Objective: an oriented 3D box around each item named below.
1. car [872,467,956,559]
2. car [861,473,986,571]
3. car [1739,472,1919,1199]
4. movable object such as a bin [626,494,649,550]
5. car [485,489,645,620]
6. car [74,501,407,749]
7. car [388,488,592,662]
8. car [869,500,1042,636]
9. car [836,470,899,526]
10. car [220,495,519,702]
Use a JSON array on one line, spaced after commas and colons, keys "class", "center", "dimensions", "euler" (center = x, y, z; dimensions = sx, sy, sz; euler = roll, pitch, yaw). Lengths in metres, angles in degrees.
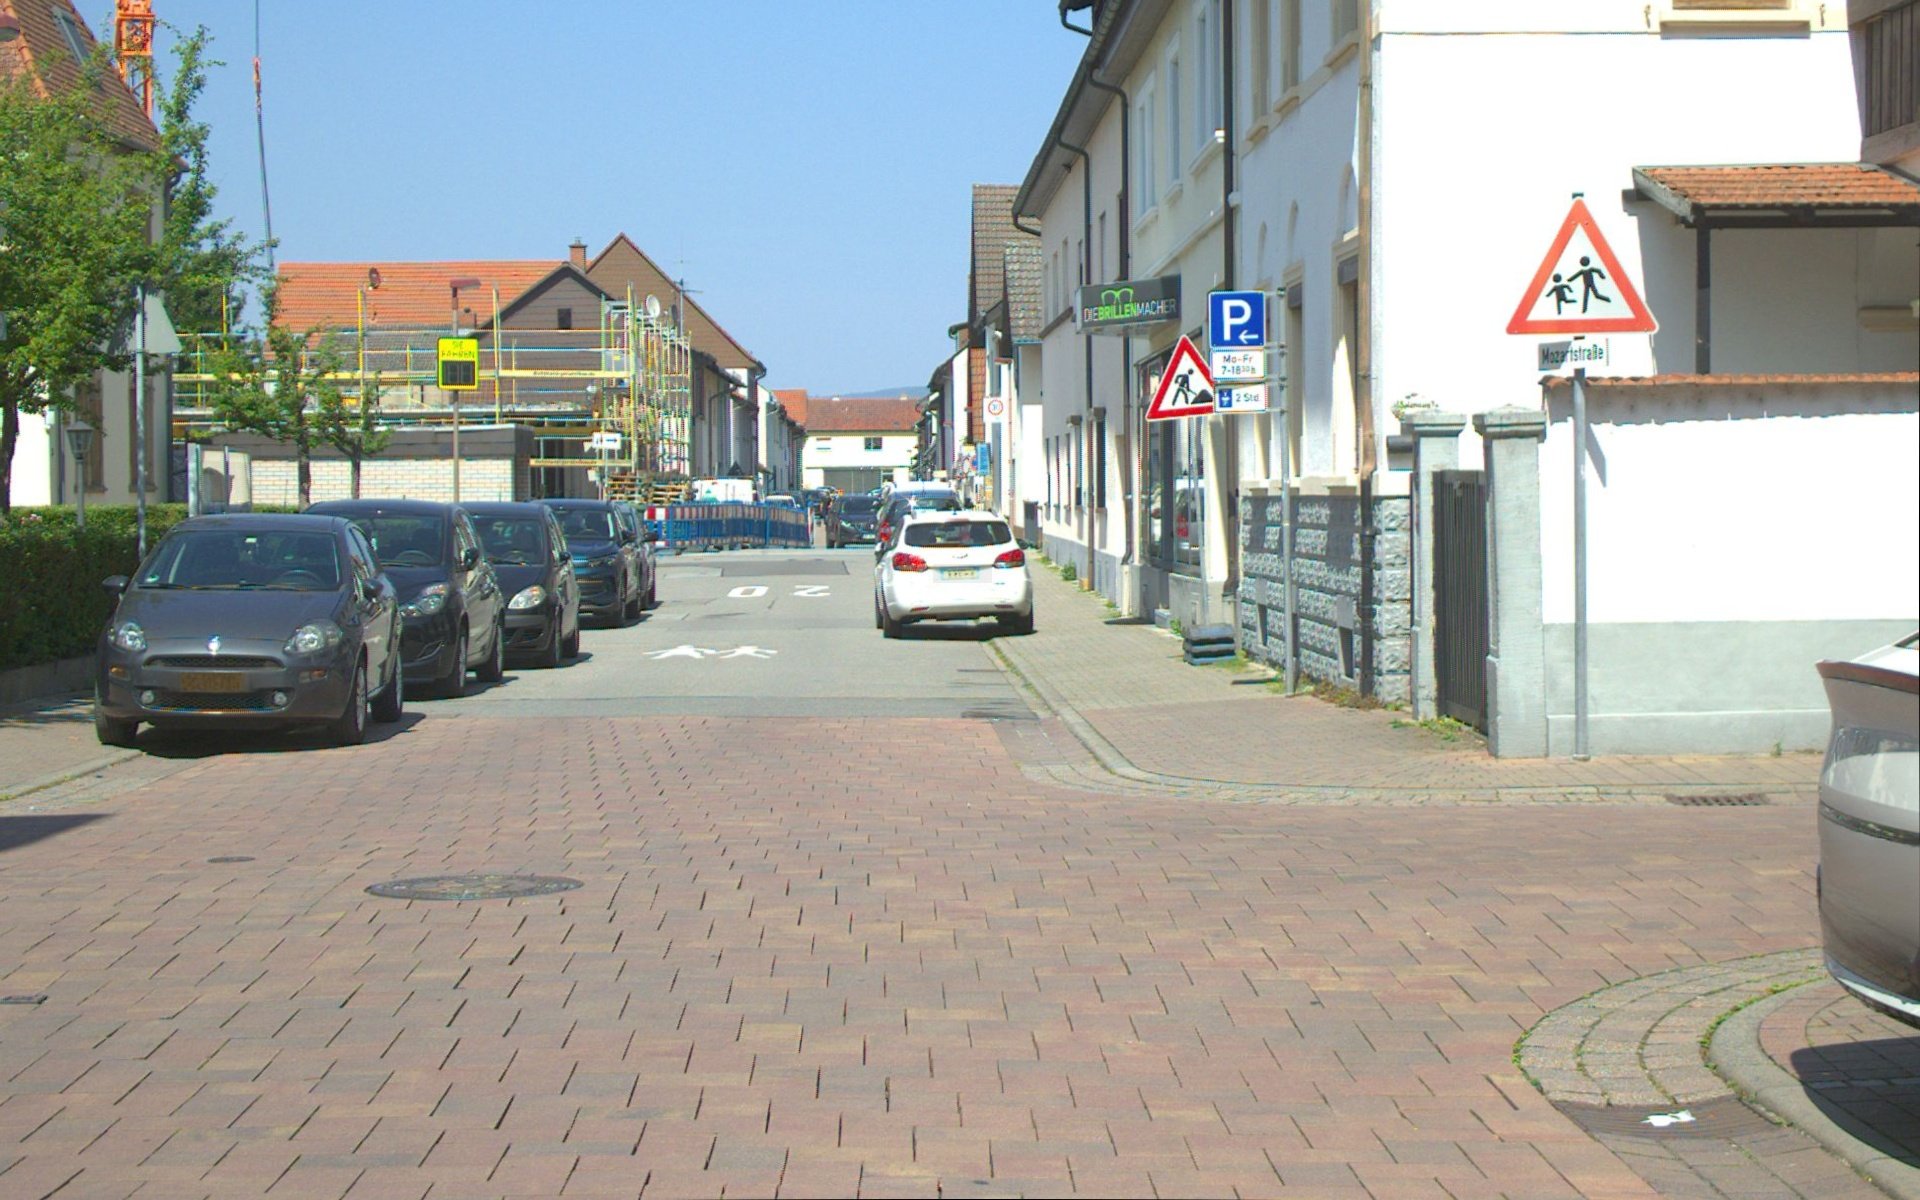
[{"class": "car", "center": [-0.913, -1.718, 66.900], "dimensions": [1.564, 1.607, 3.543], "euler": [-1, 4, -2]}, {"class": "car", "center": [-0.686, -1.427, 61.537], "dimensions": [1.884, 1.550, 3.895], "euler": [-4, 3, -4]}, {"class": "car", "center": [4.223, 0.425, 7.819], "dimensions": [4.440, 1.570, 1.789], "euler": [-2, 2, 0]}, {"class": "movable object such as a bin", "center": [-6.627, -1.604, 70.635], "dimensions": [0.431, 1.151, 0.364], "euler": [-1, 2, -11]}, {"class": "car", "center": [-5.179, -0.642, 45.509], "dimensions": [1.826, 1.625, 4.218], "euler": [-1, 2, -3]}, {"class": "car", "center": [-4.753, 0.097, 23.173], "dimensions": [1.702, 1.491, 3.858], "euler": [-1, 2, -5]}, {"class": "car", "center": [-4.692, -0.298, 34.737], "dimensions": [1.637, 1.623, 3.769], "euler": [-1, 2, -2]}, {"class": "car", "center": [0.001, -0.433, 41.895], "dimensions": [1.887, 1.536, 4.243], "euler": [0, 2, 3]}, {"class": "car", "center": [-2.851, -3.140, 105.231], "dimensions": [1.881, 1.662, 4.154], "euler": [0, 2, -2]}, {"class": "car", "center": [-4.905, -0.076, 29.062], "dimensions": [1.815, 1.599, 4.025], "euler": [0, 2, 0]}]
